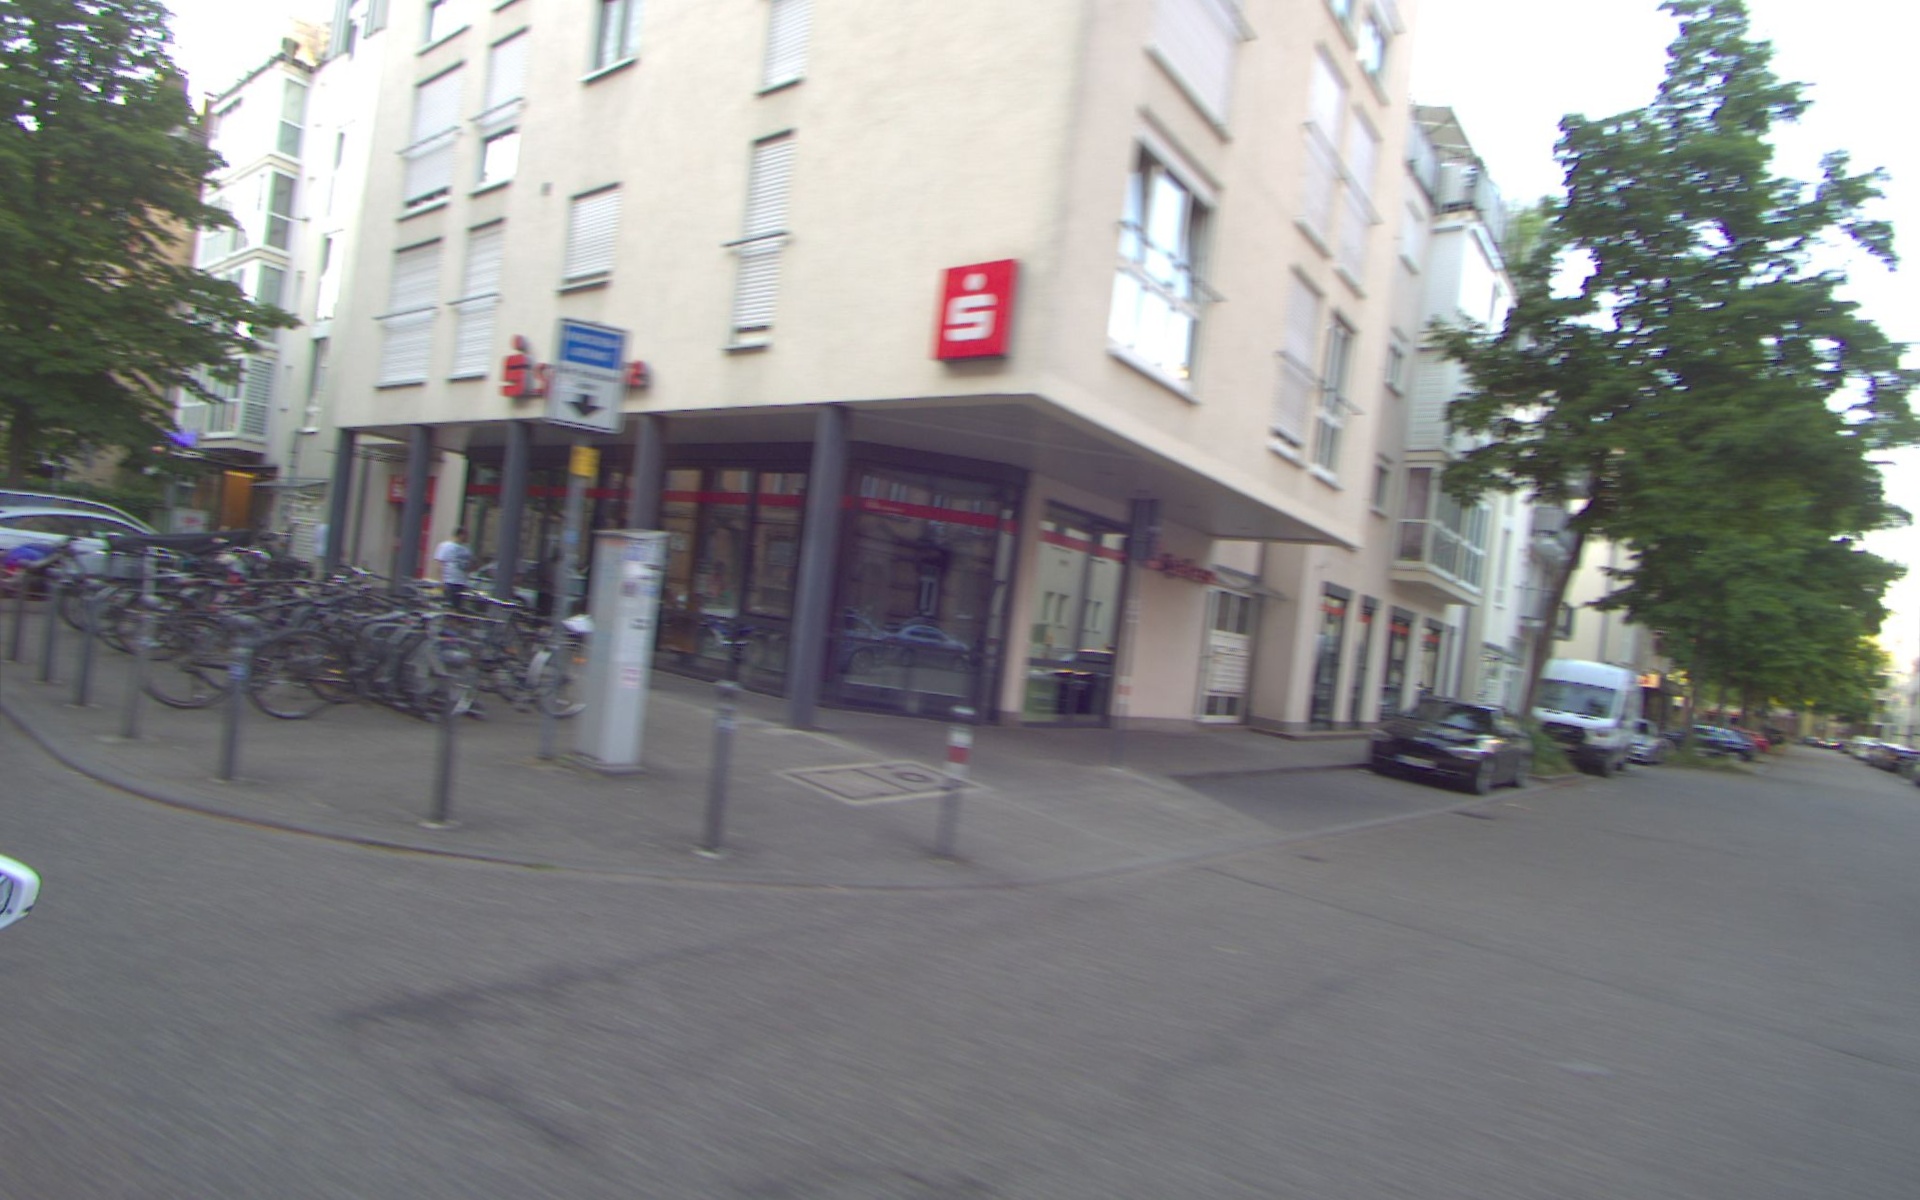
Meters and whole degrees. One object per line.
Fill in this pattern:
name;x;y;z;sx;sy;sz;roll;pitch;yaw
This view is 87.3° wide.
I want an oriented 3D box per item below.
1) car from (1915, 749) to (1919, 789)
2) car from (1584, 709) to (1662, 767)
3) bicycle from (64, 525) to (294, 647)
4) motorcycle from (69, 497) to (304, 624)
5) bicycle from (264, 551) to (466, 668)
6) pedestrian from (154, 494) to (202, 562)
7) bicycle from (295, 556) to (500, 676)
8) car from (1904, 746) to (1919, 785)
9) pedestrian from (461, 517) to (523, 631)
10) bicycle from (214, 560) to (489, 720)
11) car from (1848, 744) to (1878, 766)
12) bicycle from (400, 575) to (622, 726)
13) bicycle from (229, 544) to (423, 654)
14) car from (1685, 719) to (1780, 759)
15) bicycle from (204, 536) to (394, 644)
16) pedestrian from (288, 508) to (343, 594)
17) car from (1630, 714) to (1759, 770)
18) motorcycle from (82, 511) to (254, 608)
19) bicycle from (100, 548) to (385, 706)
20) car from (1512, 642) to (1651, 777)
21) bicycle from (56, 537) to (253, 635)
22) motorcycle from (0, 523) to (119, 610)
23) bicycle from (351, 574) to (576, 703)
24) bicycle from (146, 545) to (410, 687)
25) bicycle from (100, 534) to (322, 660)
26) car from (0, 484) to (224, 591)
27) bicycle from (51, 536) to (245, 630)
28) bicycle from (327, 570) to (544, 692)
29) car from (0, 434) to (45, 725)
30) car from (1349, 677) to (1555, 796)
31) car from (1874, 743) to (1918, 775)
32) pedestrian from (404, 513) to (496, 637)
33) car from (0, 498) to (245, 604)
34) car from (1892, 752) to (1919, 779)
car;38.287;6.657;38.820;1.804;1.570;3.779;5;-3;41
car;21.989;4.541;33.296;1.742;1.558;4.087;5;-3;38
bicycle;-8.465;-0.126;10.960;0.733;1.198;1.863;6;3;43
motorcycle;-10.963;-0.523;14.363;0.812;1.569;2.487;6;1;41
bicycle;-6.426;0.131;10.941;0.644;1.132;1.719;6;1;41
pedestrian;-21.202;-1.958;27.277;0.949;1.738;0.726;6;2;39
bicycle;-5.926;0.199;10.675;0.644;1.132;1.719;6;1;41
car;41.576;7.138;42.734;1.892;1.570;3.779;5;-3;41
pedestrian;-7.587;-0.418;16.332;0.655;1.745;0.660;7;2;-17
bicycle;-4.872;0.335;8.147;0.697;1.132;1.719;6;1;41
car;73.018;12.502;81.356;1.569;1.488;3.581;5;-3;41
bicycle;-3.849;0.432;8.781;0.569;1.146;1.725;6;1;26
bicycle;-7.257;0.016;11.599;0.643;1.132;1.722;6;1;35
car;45.764;8.243;59.691;3.925;1.703;1.948;6;-2;19
bicycle;-7.837;-0.096;11.999;0.643;1.132;1.722;6;1;35
pedestrian;-14.012;-1.065;21.890;0.577;1.773;0.627;6;-1;27
car;30.941;5.951;42.511;3.928;1.703;1.947;6;-2;24
motorcycle;-13.020;-0.641;16.609;0.706;1.387;2.057;7;2;34
bicycle;-5.839;0.239;8.280;0.696;1.132;1.721;6;1;36
car;16.222;2.864;26.041;2.044;2.766;6.763;9;0;38
bicycle;-9.472;-0.141;11.875;0.658;1.045;1.715;6;2;41
motorcycle;-12.751;-0.471;13.546;0.652;1.092;2.062;6;1;23
bicycle;-4.616;0.382;9.440;0.644;1.067;1.719;6;1;41
bicycle;-6.140;0.175;9.151;0.696;1.132;1.808;6;1;36
bicycle;-7.782;-0.007;10.498;1.779;1.198;0.725;3;3;-41
car;-16.934;-1.214;19.105;1.720;1.669;4.394;7;1;38
bicycle;-9.897;-0.185;12.315;0.557;1.036;1.768;6;2;41
bicycle;-5.107;0.328;9.882;0.644;1.067;1.719;6;1;41
car;-8.682;-0.434;7.203;5.188;1.873;1.914;6;-3;35
car;8.319;2.240;16.826;1.767;1.451;4.225;10;2;43
car;53.209;9.020;57.236;1.569;1.558;3.581;5;-3;41
pedestrian;-7.787;-0.386;15.396;0.897;1.746;0.774;7;3;-5
car;-15.093;-0.862;17.076;1.750;1.474;4.425;7;1;32
car;48.813;8.491;51.397;1.525;1.212;3.501;5;-3;41
